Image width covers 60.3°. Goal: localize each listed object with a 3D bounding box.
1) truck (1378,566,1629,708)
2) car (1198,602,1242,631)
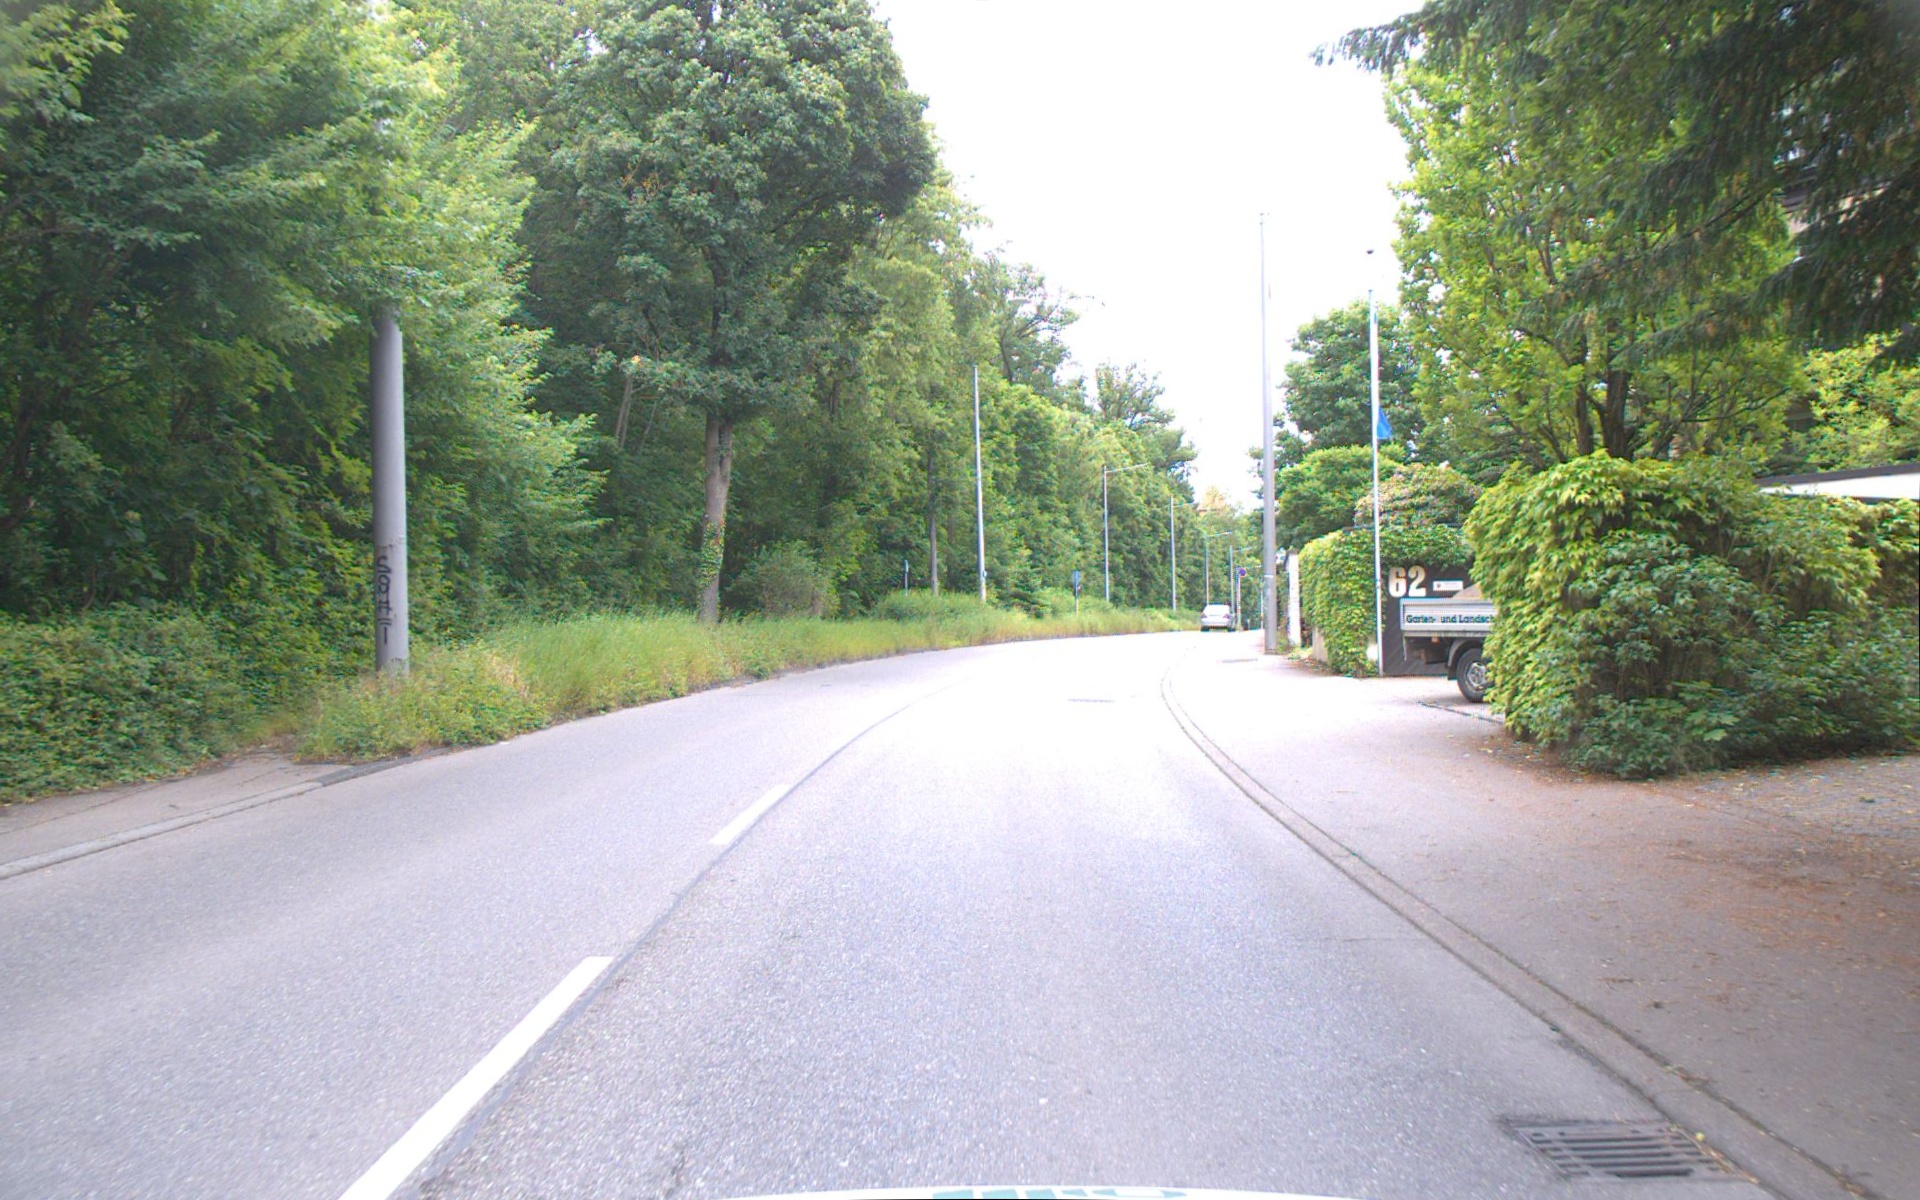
[{"bbox_3d":[7.074,0.460,21.764,1.335,1.719,3.029,-1,0,-29],"label":"truck"},{"bbox_3d":[14.151,0.902,89.882,1.951,1.512,4.003,-1,0,15],"label":"car"}]
